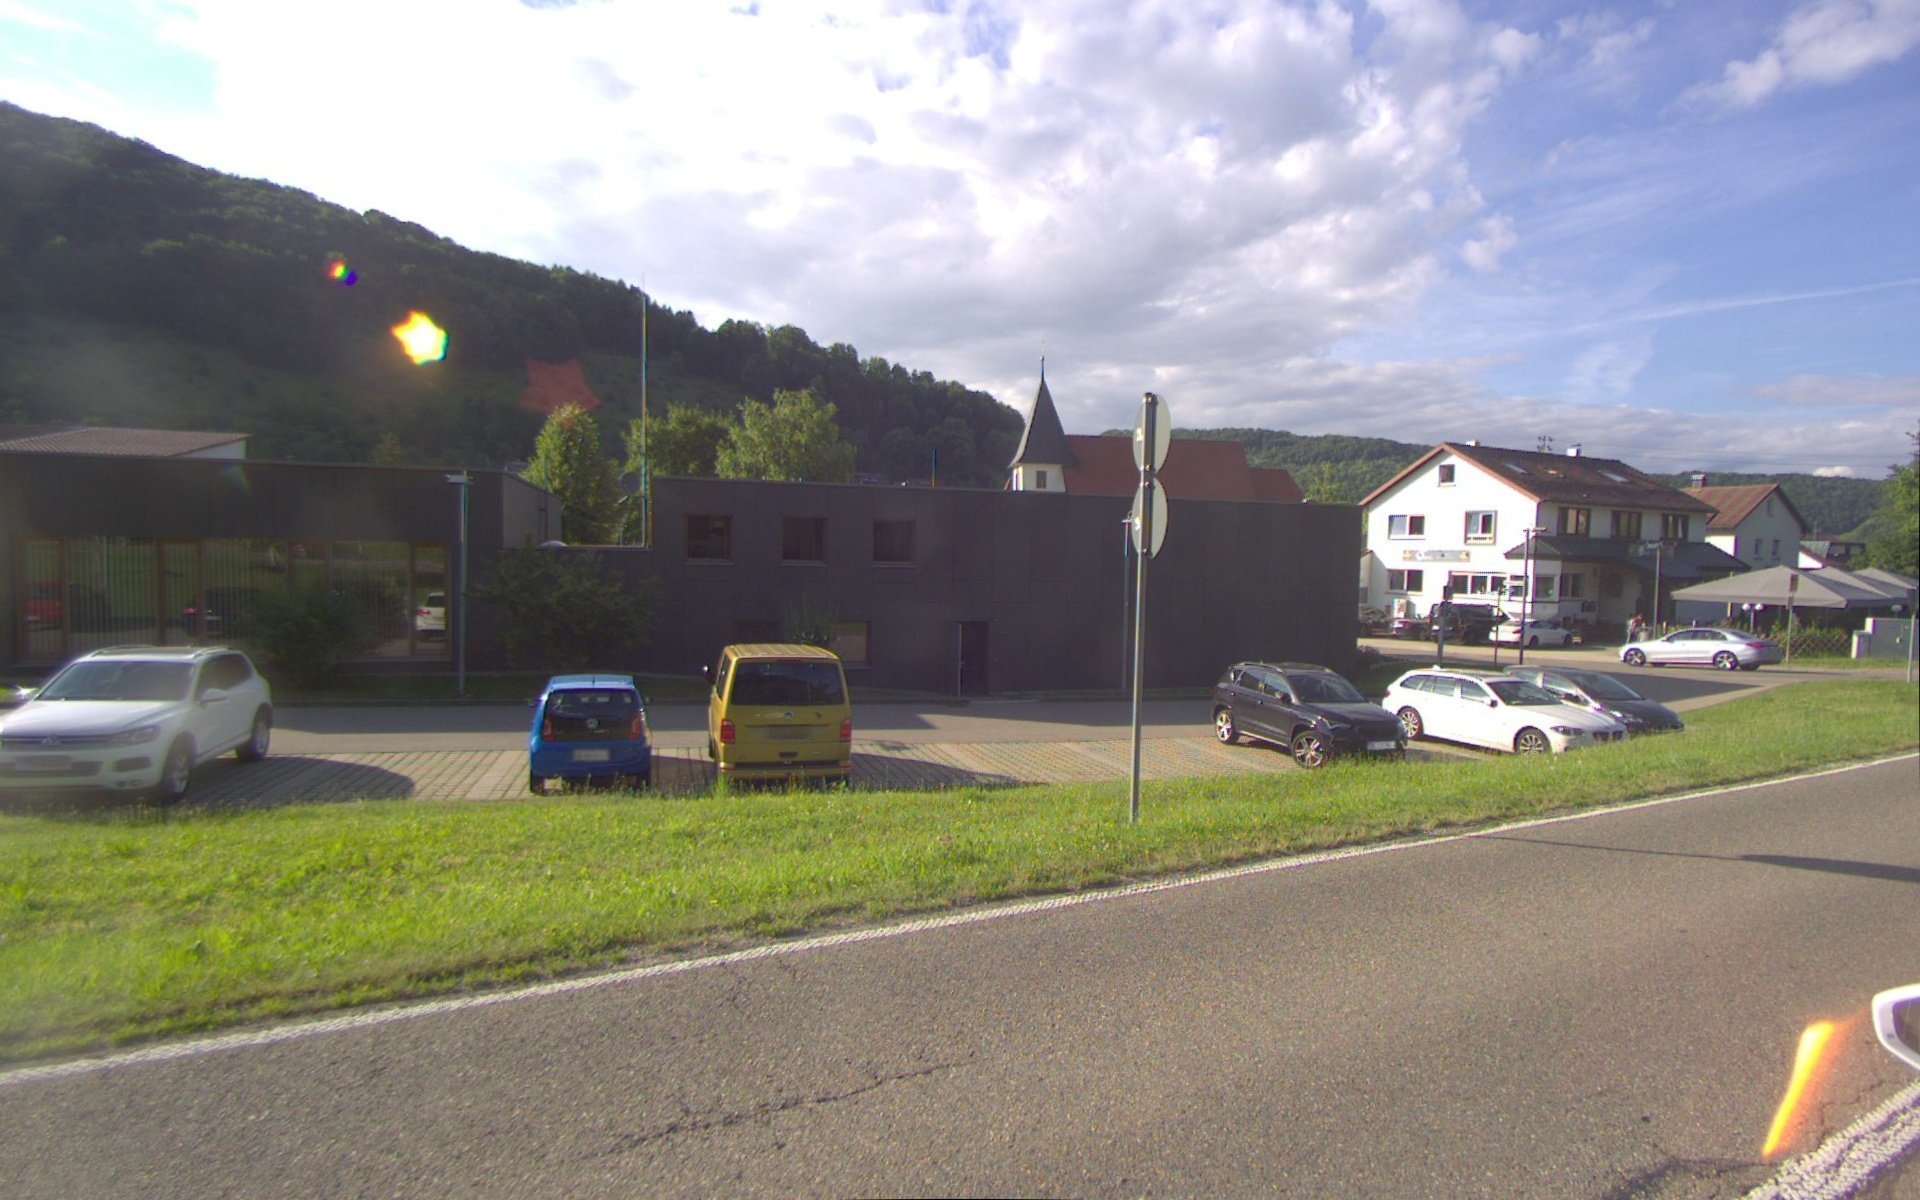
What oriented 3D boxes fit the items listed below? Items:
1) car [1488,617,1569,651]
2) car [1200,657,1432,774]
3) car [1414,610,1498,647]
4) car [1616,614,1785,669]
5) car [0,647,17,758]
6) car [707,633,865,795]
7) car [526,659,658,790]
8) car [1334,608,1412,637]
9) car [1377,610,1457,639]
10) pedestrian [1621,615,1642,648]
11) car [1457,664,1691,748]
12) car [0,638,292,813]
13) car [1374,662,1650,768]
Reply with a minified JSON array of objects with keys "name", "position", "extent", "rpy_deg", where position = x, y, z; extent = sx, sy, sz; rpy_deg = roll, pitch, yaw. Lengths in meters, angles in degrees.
[{"name":"car","position":[26.710,1.596,47.149],"extent":[3.954,1.469,1.548],"rpy_deg":[2,0,-31]},{"name":"car","position":[6.400,2.027,18.570],"extent":[1.969,1.659,4.022],"rpy_deg":[2,0,-18]},{"name":"car","position":[24.634,1.400,49.890],"extent":[3.954,1.684,1.877],"rpy_deg":[2,0,-31]},{"name":"car","position":[25.805,1.420,35.163],"extent":[1.790,1.661,4.424],"rpy_deg":[2,0,-32]},{"name":"car","position":[-14.057,1.458,12.211],"extent":[1.969,1.575,4.535],"rpy_deg":[2,0,-18]},{"name":"car","position":[-2.815,1.568,15.330],"extent":[1.967,1.893,4.611],"rpy_deg":[2,0,-14]},{"name":"car","position":[-5.471,1.745,15.012],"extent":[1.608,1.492,3.489],"rpy_deg":[2,0,-20]},{"name":"car","position":[21.906,1.199,53.274],"extent":[3.955,1.372,1.831],"rpy_deg":[2,0,-32]},{"name":"car","position":[23.569,1.266,51.736],"extent":[3.955,1.372,1.831],"rpy_deg":[2,0,-32]},{"name":"pedestrian","position":[31.571,1.466,47.225],"extent":[0.583,1.523,0.605],"rpy_deg":[2,0,-30]},{"name":"car","position":[12.882,2.163,21.356],"extent":[1.735,1.327,3.979],"rpy_deg":[2,0,-22]},{"name":"car","position":[-10.796,1.485,13.362],"extent":[1.969,1.725,4.535],"rpy_deg":[2,0,-18]},{"name":"car","position":[10.655,2.159,19.886],"extent":[1.851,1.513,4.810],"rpy_deg":[2,0,-18]}]
